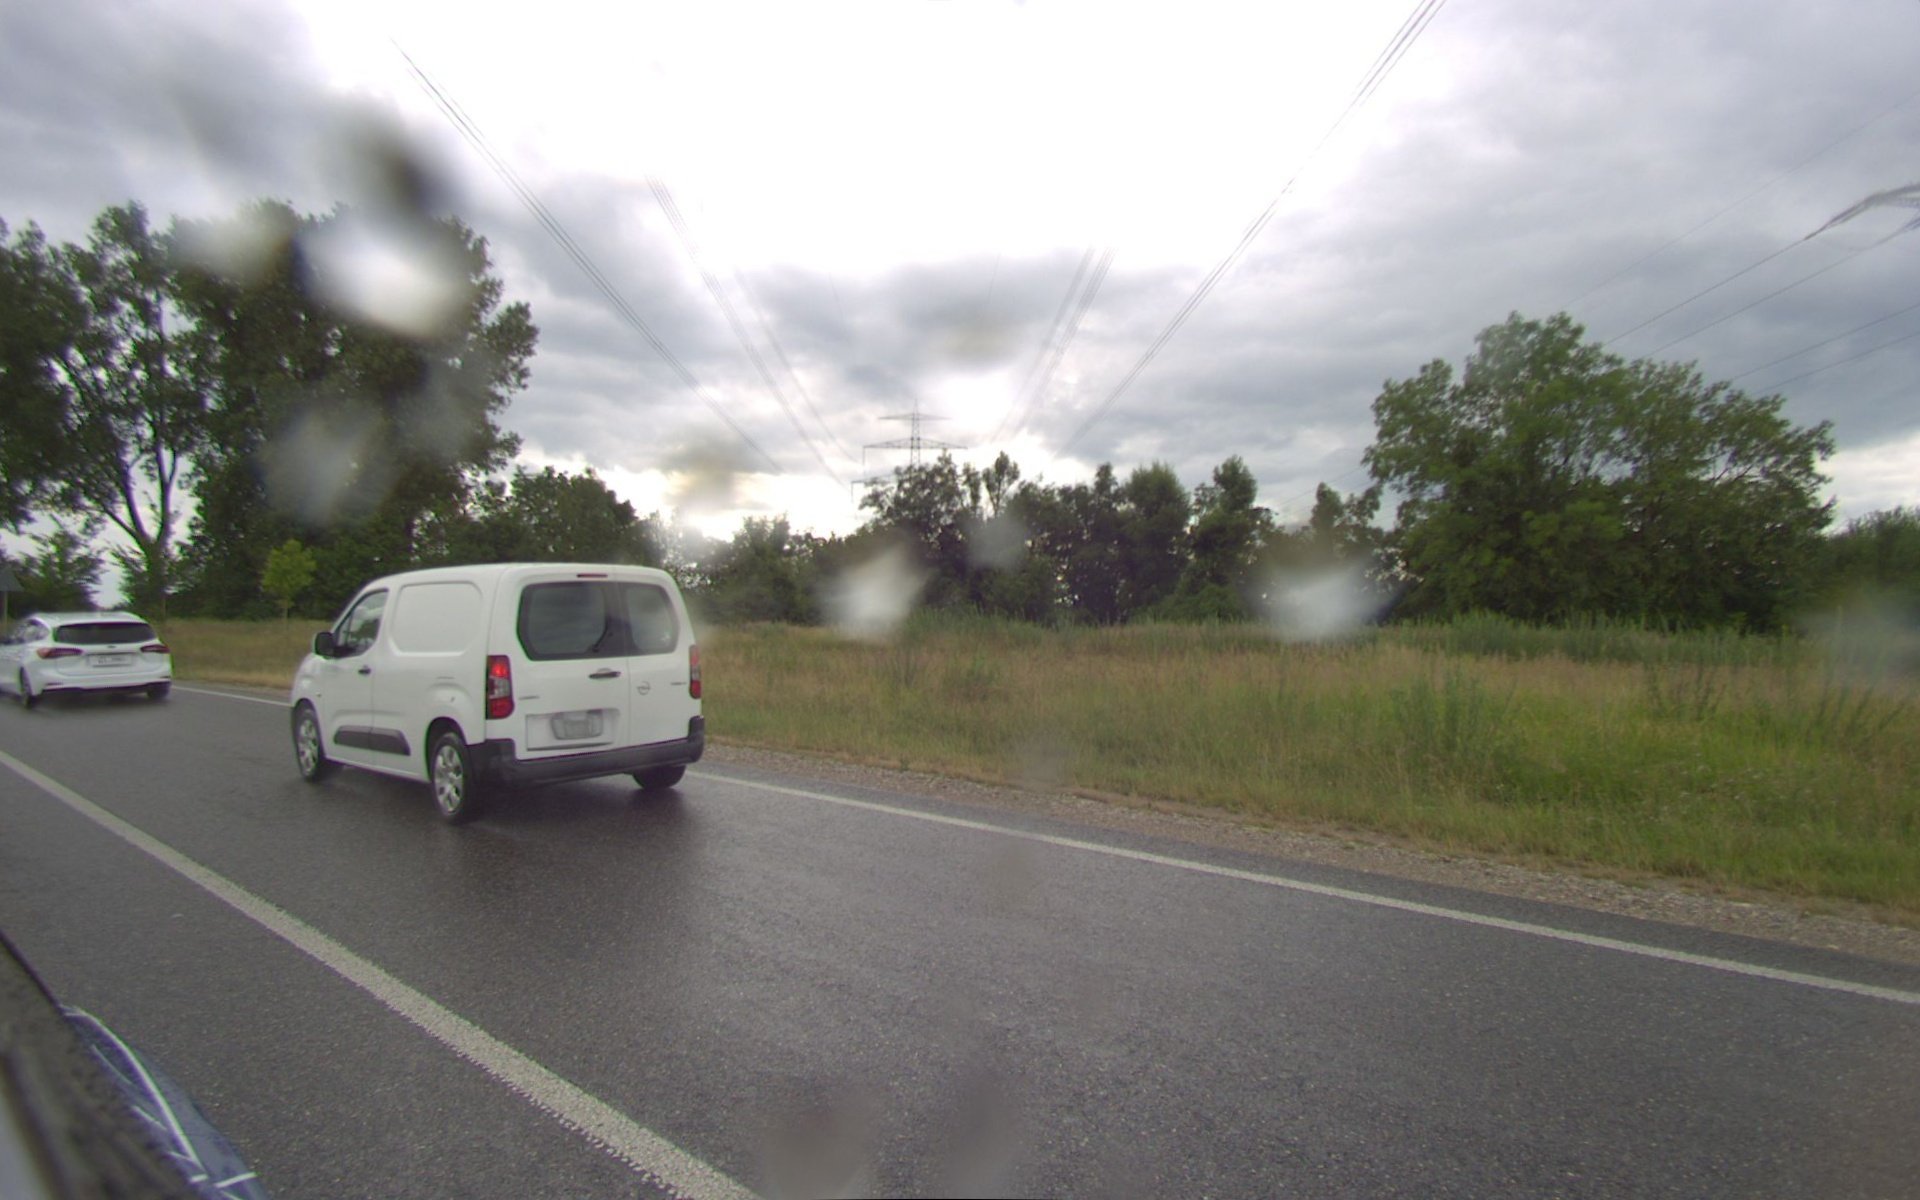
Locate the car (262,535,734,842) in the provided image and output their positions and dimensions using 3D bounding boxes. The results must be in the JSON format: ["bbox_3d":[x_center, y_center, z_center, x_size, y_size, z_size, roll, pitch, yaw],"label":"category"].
[{"bbox_3d":[-3.974,0.549,8.313,4.444,1.869,1.825,-1,0,41],"label":"car"}]

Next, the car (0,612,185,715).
[{"bbox_3d":[-14.374,0.935,16.524,4.283,1.398,1.826,0,1,40],"label":"car"}]
